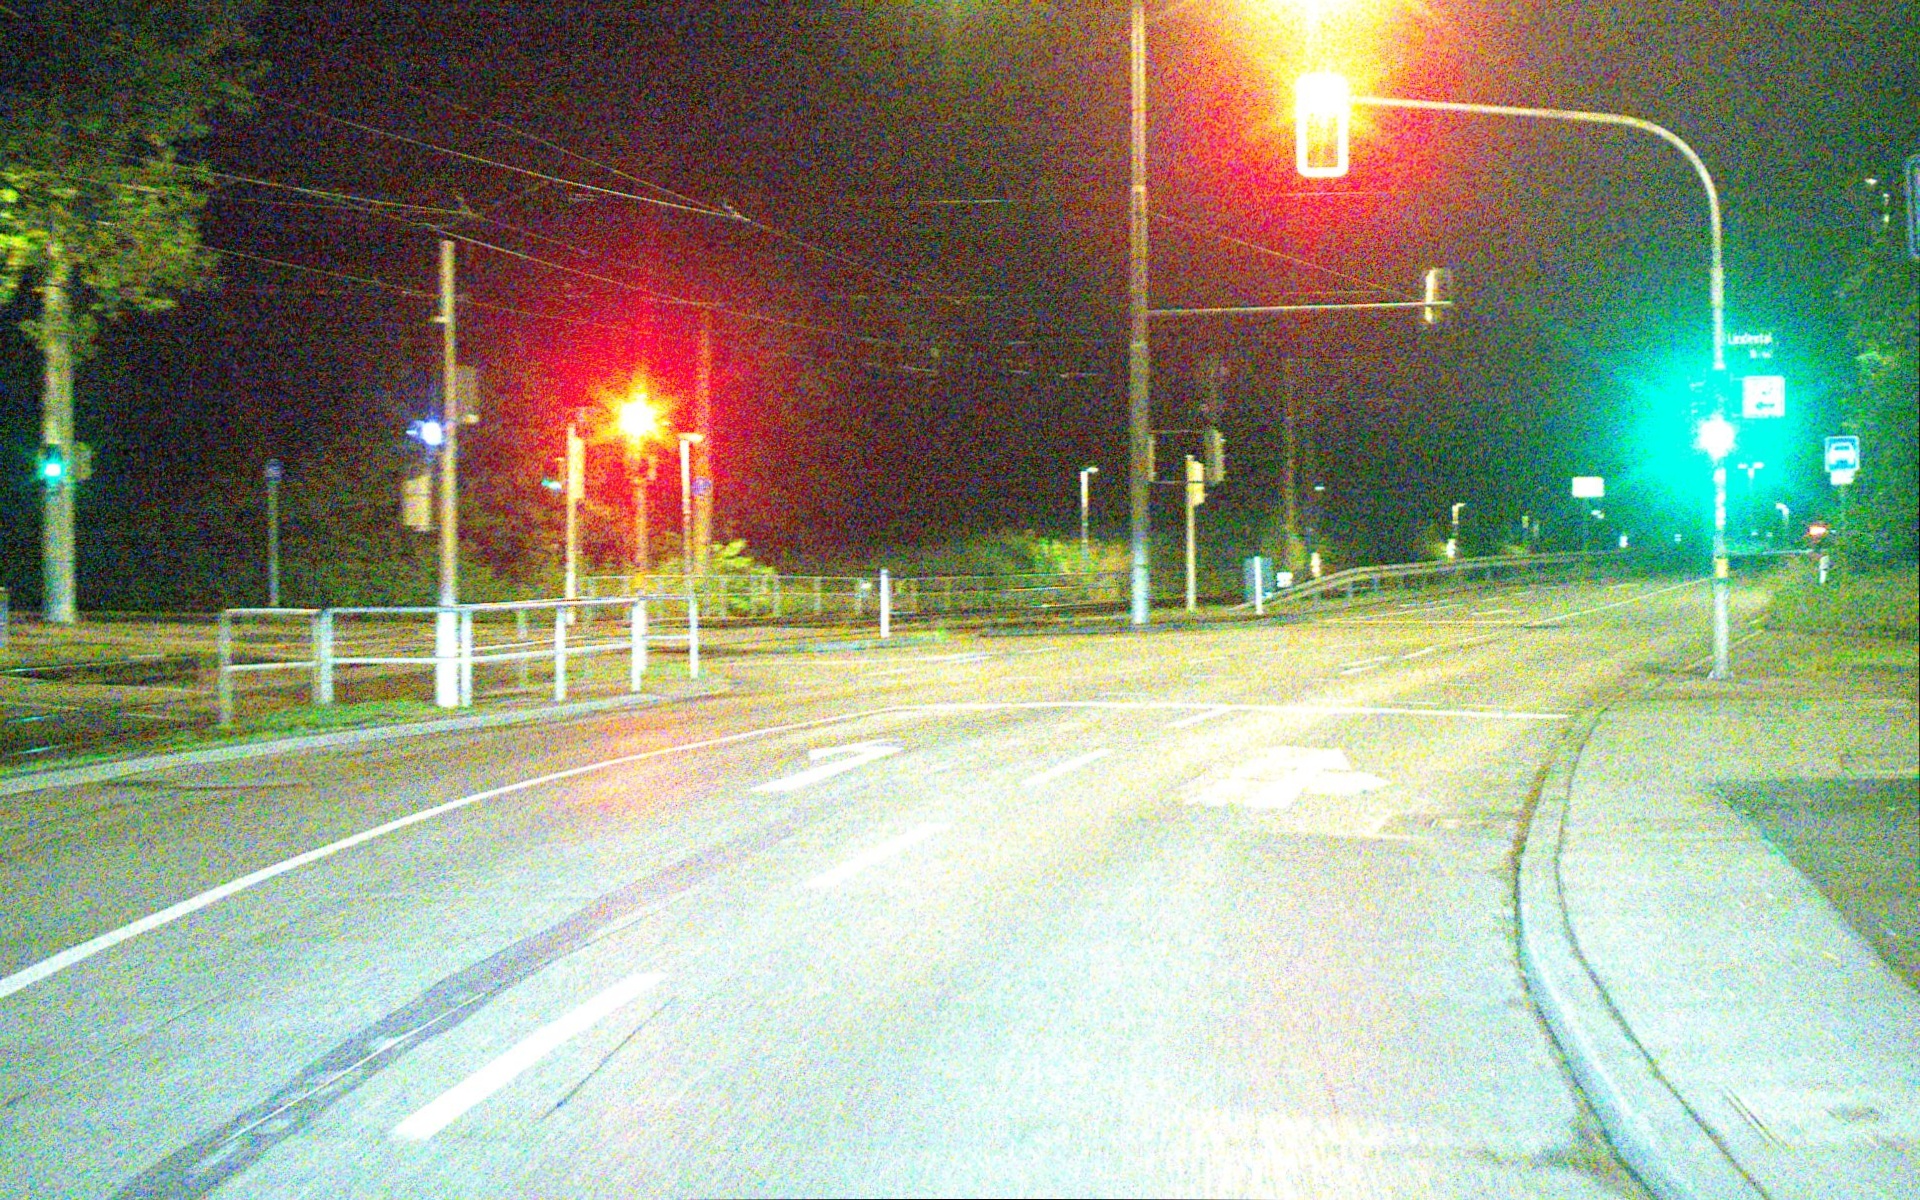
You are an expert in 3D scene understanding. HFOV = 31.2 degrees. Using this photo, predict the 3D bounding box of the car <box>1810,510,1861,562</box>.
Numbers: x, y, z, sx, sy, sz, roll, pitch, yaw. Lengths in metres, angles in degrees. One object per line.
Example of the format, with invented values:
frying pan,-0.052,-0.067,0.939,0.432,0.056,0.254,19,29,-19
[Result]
car,37.059,-2.699,145.517,1.995,2.007,3.997,1,-1,16
